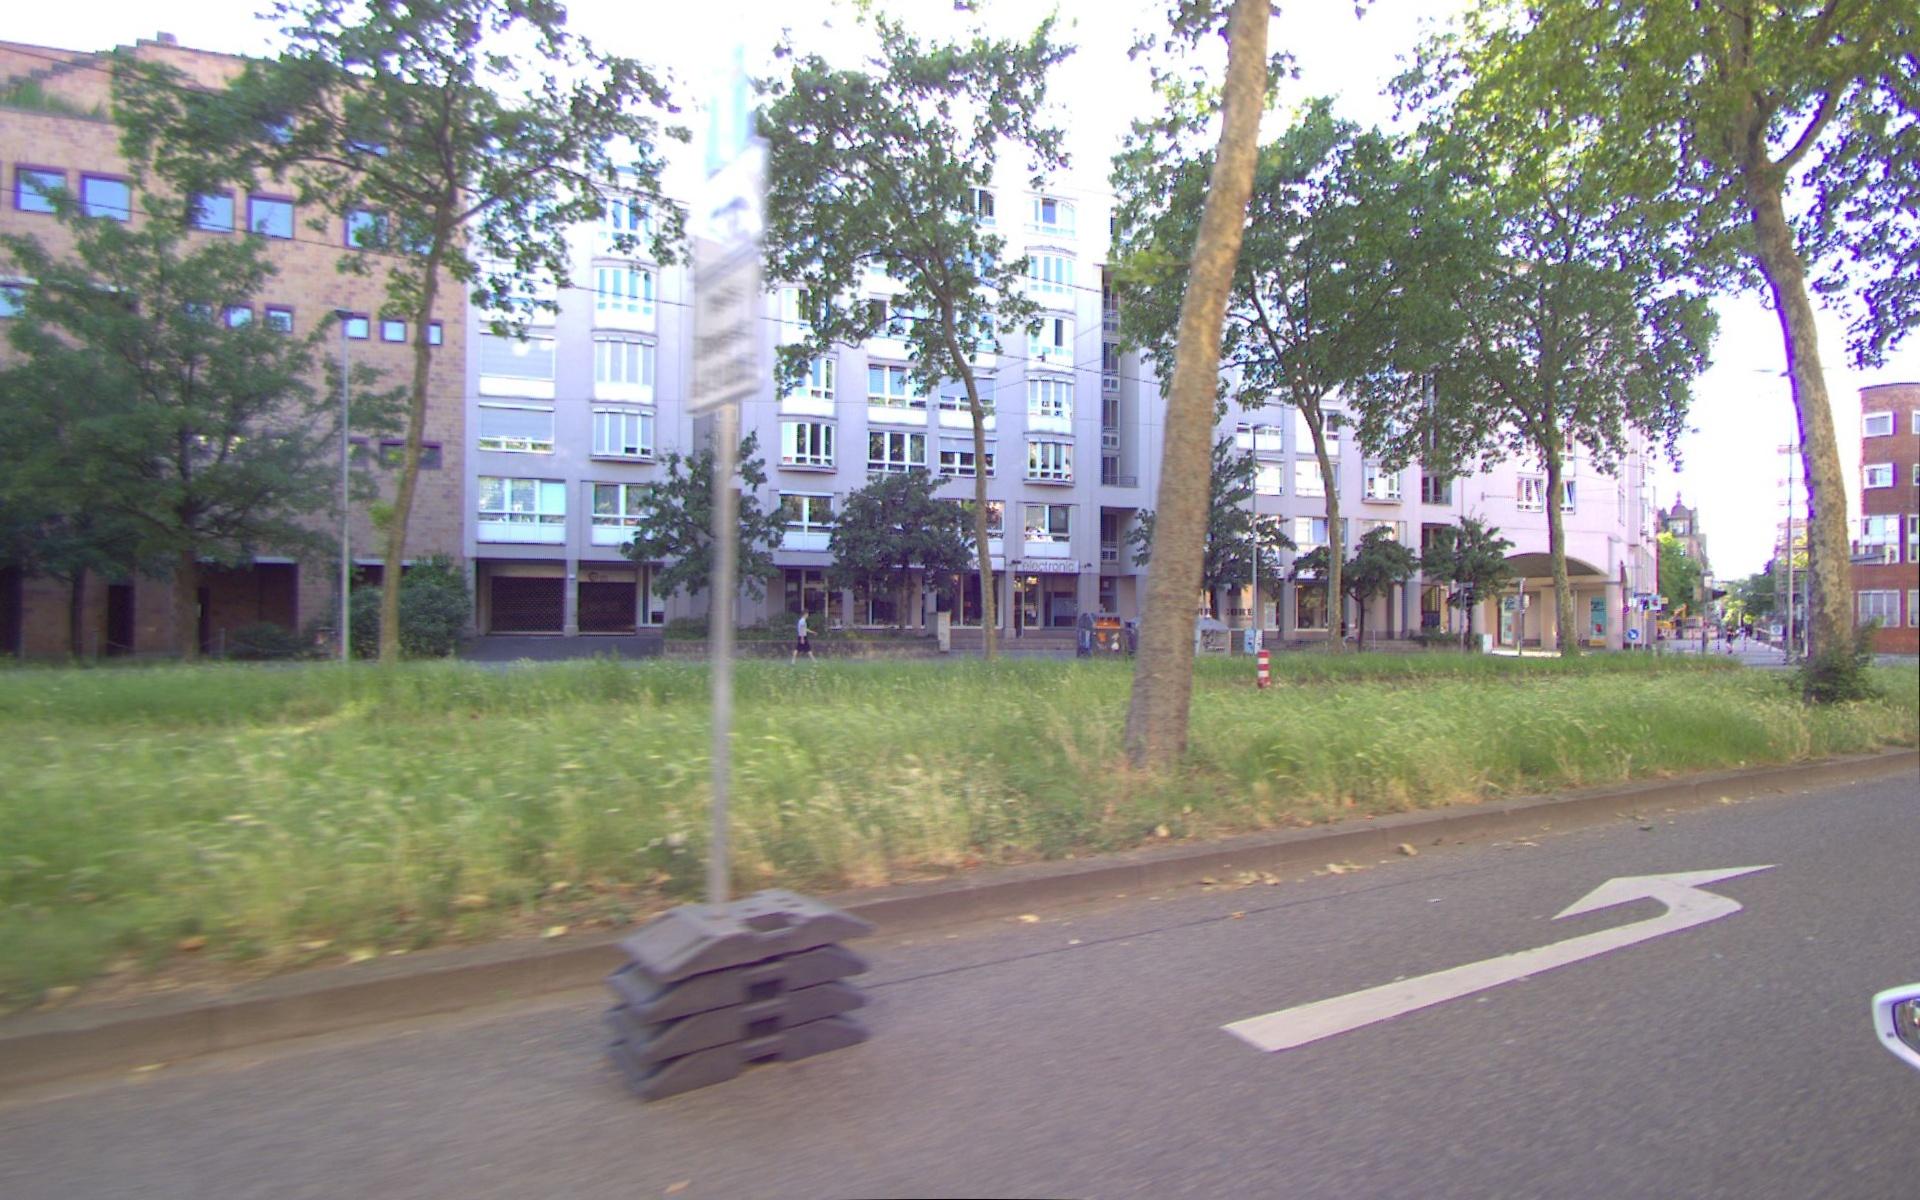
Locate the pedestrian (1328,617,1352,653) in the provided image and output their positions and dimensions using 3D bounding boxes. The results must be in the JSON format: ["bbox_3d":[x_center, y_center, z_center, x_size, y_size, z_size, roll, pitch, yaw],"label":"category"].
[{"bbox_3d":[17.444,1.601,46.079,0.776,1.660,0.706,1,-1,-18],"label":"pedestrian"}]

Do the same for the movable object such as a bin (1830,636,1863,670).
[{"bbox_3d":[26.239,1.560,29.732,0.530,0.966,0.510,1,-1,-15],"label":"movable object such as a bin"}]

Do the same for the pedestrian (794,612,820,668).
[{"bbox_3d":[-4.890,1.280,32.096,0.639,1.763,0.726,1,-1,-25],"label":"pedestrian"}]

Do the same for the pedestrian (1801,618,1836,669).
[{"bbox_3d":[25.766,1.292,30.157,0.526,1.523,0.618,1,-1,-17],"label":"pedestrian"}]

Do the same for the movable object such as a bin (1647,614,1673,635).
[{"bbox_3d":[79.058,2.777,113.497,2.769,2.341,1.908,1,-1,-43],"label":"movable object such as a bin"}]

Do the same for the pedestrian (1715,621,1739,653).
[{"bbox_3d":[45.940,2.204,60.144,0.741,1.894,0.854,1,-1,-21],"label":"pedestrian"}]
